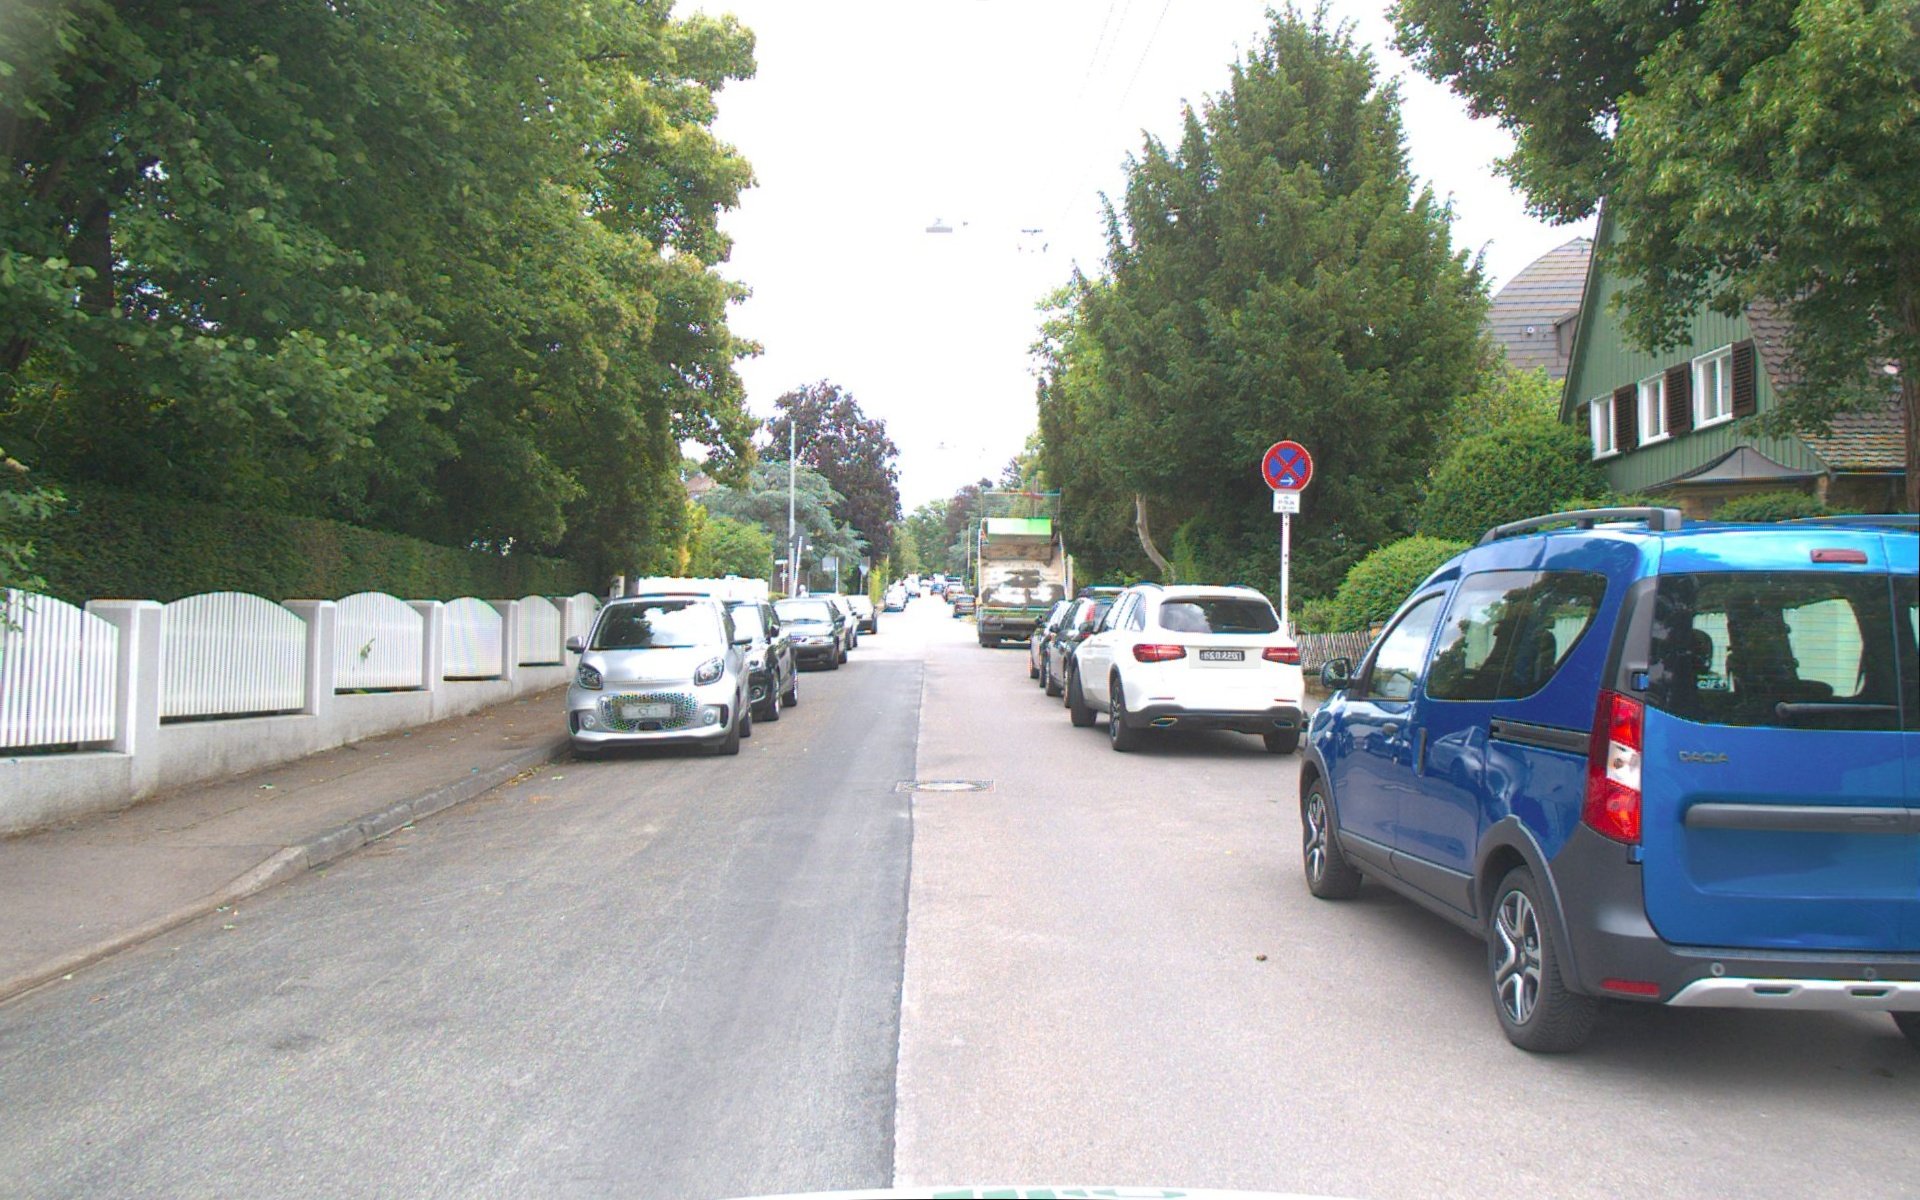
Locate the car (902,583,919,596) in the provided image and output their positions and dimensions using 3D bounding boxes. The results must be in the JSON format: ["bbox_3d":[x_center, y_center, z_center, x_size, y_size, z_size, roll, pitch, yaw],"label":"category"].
[{"bbox_3d":[-5.787,-1.227,193.315,1.692,1.432,3.805,0,0,3],"label":"car"}]

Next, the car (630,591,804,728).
[{"bbox_3d":[-2.977,0.677,20.989,1.621,1.507,3.887,-2,0,-1],"label":"car"}]

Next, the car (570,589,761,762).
[{"bbox_3d":[-2.928,0.694,16.958,1.590,1.560,2.960,-2,0,-4],"label":"car"}]

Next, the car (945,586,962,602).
[{"bbox_3d":[-0.668,-0.610,170.578,1.753,1.556,3.734,1,0,0],"label":"car"}]

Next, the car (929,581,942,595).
[{"bbox_3d":[-3.033,-1.459,206.203,1.601,1.731,3.493,1,1,-2],"label":"car"}]

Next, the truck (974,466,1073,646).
[{"bbox_3d":[1.759,-1.199,48.509,2.473,4.831,7.186,1,0,-1],"label":"truck"}]

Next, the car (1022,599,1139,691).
[{"bbox_3d":[2.045,0.729,29.151,1.618,1.449,4.660,1,0,-1],"label":"car"}]

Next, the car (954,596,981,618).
[{"bbox_3d":[0.505,0.511,118.138,1.743,1.515,3.998,0,0,-2],"label":"car"}]

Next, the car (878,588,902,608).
[{"bbox_3d":[-5.815,-0.163,138.180,1.676,1.613,4.001,1,0,2],"label":"car"}]

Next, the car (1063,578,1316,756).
[{"bbox_3d":[2.306,0.624,17.824,1.723,1.634,4.571,1,0,-5],"label":"car"}]

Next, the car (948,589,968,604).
[{"bbox_3d":[-0.210,-0.362,161.701,1.774,1.359,3.631,2,1,-2],"label":"car"}]

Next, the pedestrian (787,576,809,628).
[{"bbox_3d":[-6.574,0.075,67.059,0.835,2.049,0.700,2,0,-6],"label":"pedestrian"}]

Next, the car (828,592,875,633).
[{"bbox_3d":[-3.989,0.451,61.333,1.604,1.419,3.987,-2,0,-2],"label":"car"}]

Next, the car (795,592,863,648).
[{"bbox_3d":[-3.587,0.520,45.868,1.563,1.458,4.000,-2,0,0],"label":"car"}]

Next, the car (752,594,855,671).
[{"bbox_3d":[-3.191,0.620,34.517,1.607,1.447,4.550,-2,0,1],"label":"car"}]

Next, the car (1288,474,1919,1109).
[{"bbox_3d":[2.720,0.572,7.026,1.648,1.861,4.155,2,0,-2],"label":"car"}]

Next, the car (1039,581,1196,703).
[{"bbox_3d":[2.176,0.550,23.864,1.664,1.598,4.306,0,0,-3],"label":"car"}]
